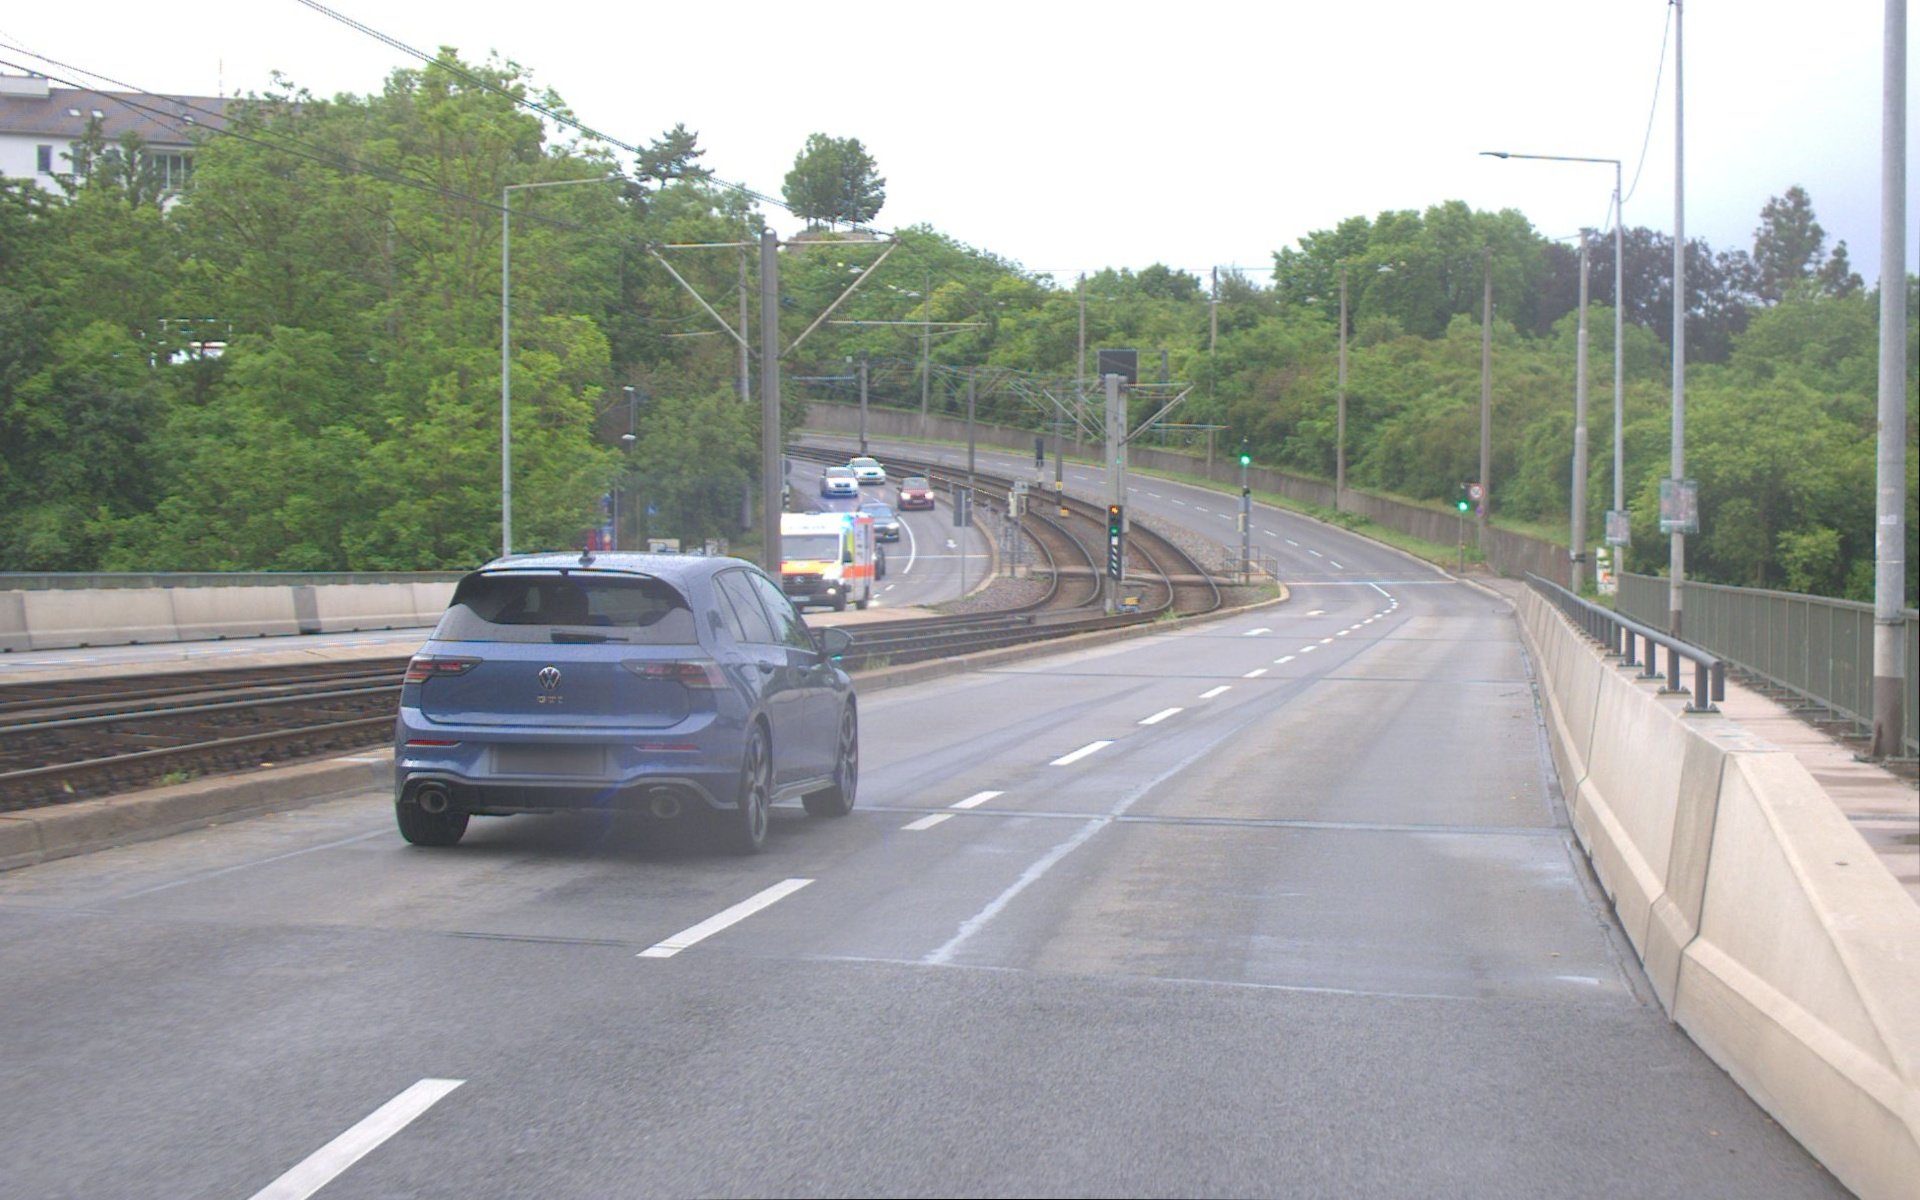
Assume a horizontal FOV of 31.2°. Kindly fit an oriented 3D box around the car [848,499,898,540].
[{"bbox_3d":[-3.743,-3.440,146.912,1.969,1.592,5.185,0,-1,-3],"label":"car"}]

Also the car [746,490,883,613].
[{"bbox_3d":[-3.825,-1.263,91.703,2.390,3.105,6.354,2,0,9],"label":"car"}]

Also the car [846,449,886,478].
[{"bbox_3d":[-5.291,-7.663,193.036,1.729,1.432,4.493,0,0,-8],"label":"car"}]

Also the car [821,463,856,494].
[{"bbox_3d":[-6.393,-6.381,180.783,1.821,1.510,4.530,1,0,-2],"label":"car"}]

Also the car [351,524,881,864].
[{"bbox_3d":[-1.636,0.418,17.776,1.764,1.496,3.999,2,0,8],"label":"car"}]

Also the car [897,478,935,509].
[{"bbox_3d":[-2.151,-5.250,168.602,1.600,1.488,3.018,-1,2,-5],"label":"car"}]
